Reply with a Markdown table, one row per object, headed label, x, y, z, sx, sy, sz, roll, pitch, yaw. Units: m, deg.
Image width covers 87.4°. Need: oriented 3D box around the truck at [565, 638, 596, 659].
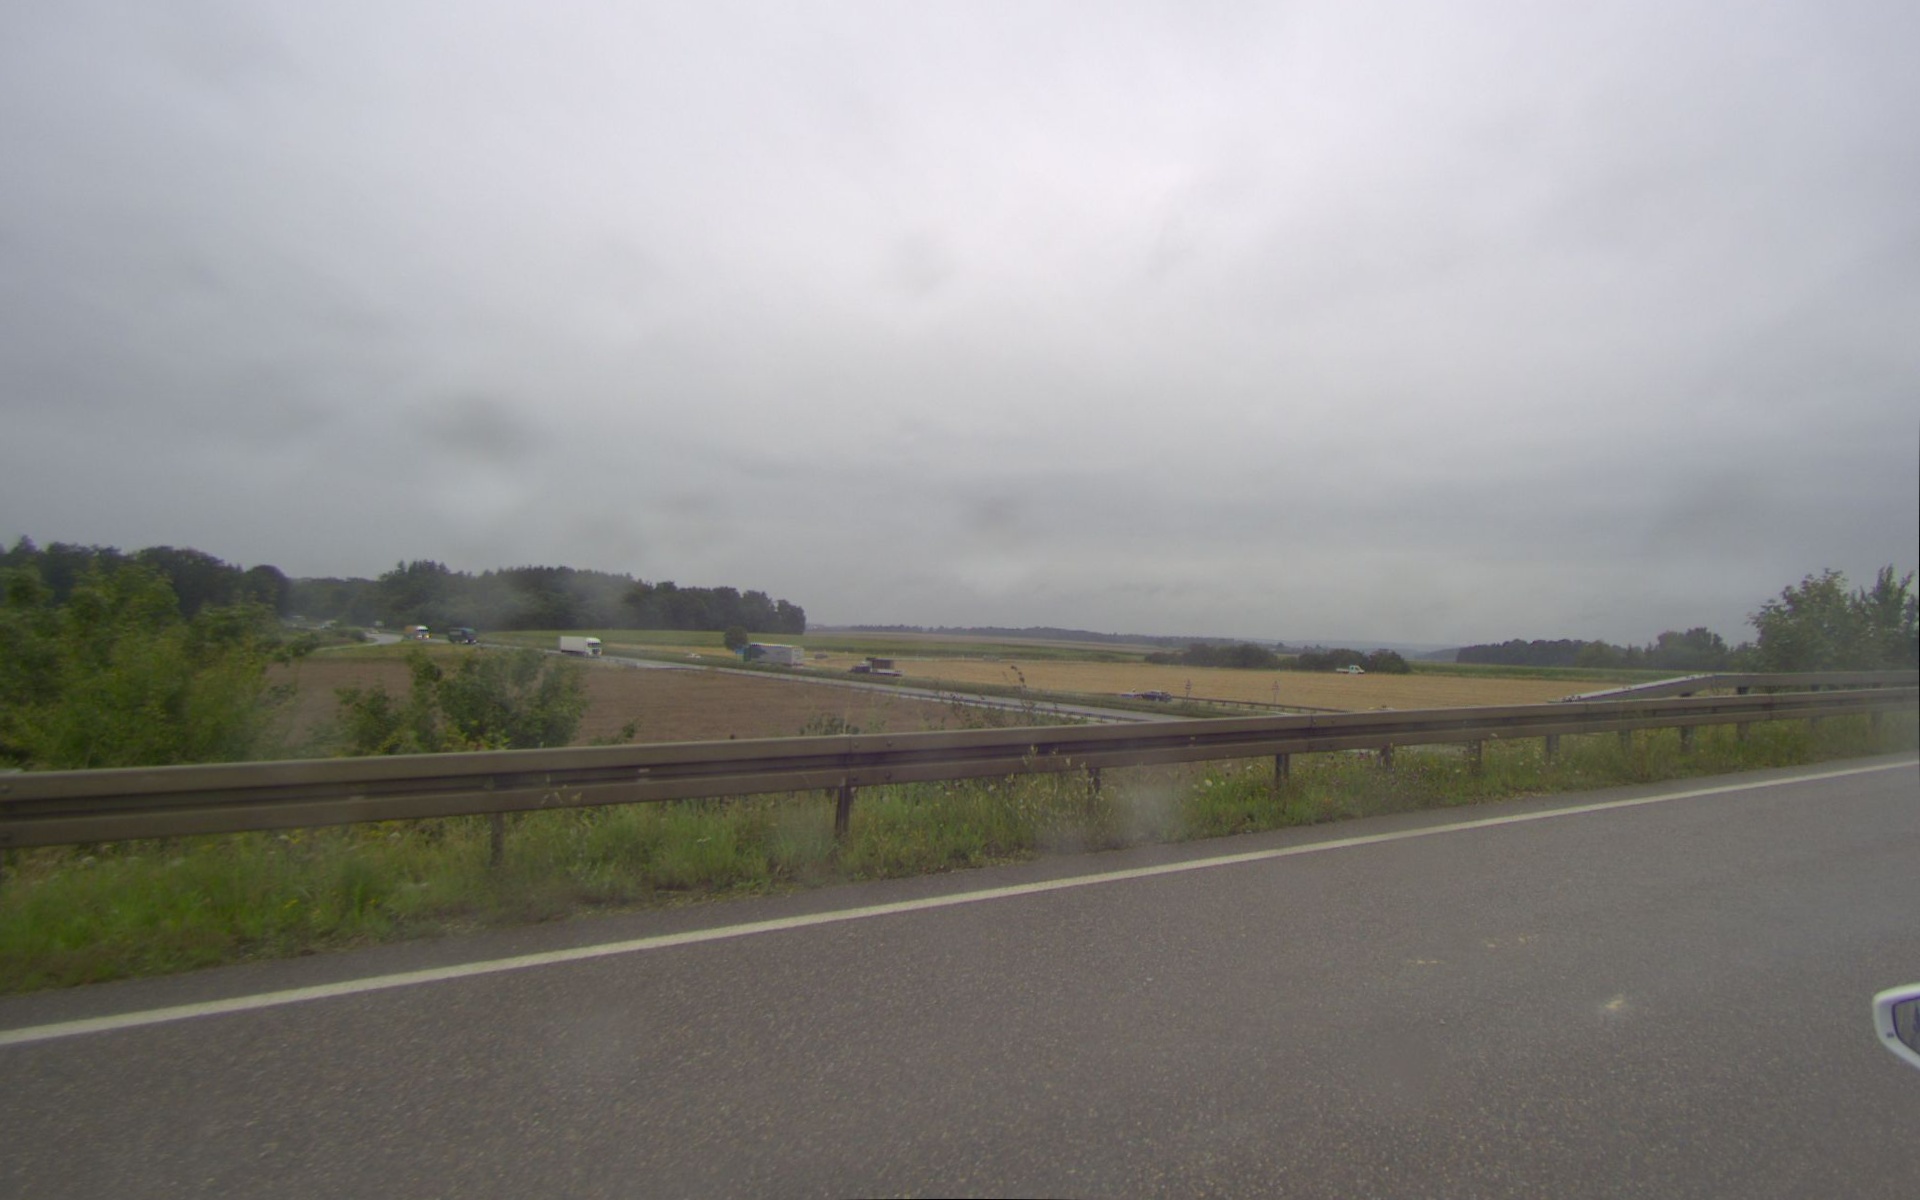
| label | x | y | z | sx | sy | sz | roll | pitch | yaw |
| --- | --- | --- | --- | --- | --- | --- | --- | --- | --- |
| truck | -80.643 | 10.308 | 213.284 | 2.764 | 3.920 | 10.519 | 4 | -2 | -40 |
